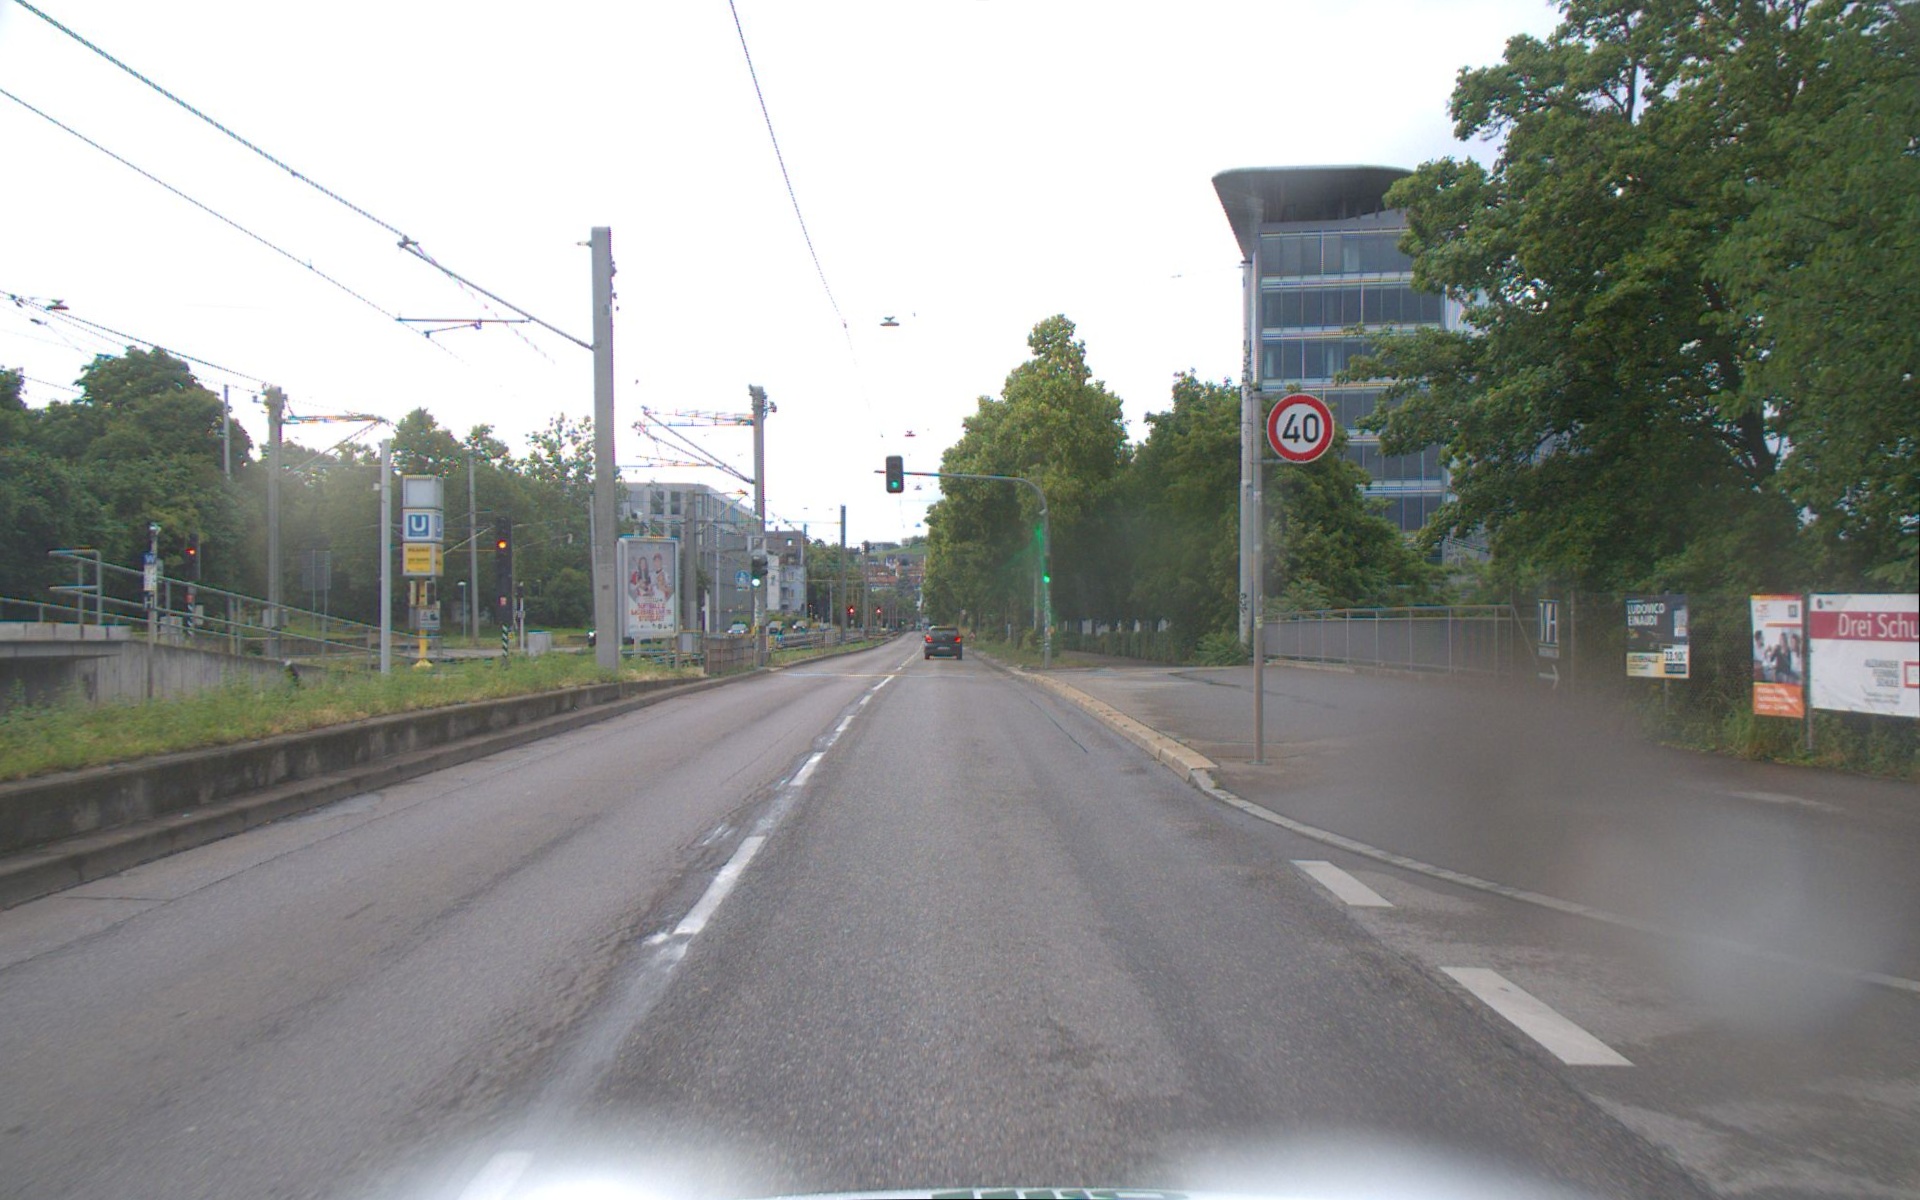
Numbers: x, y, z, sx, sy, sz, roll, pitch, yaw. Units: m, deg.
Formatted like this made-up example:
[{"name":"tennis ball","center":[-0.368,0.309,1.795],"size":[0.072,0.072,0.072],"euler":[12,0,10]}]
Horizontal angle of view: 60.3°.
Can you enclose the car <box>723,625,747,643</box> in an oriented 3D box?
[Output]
[{"name":"car","center":[-24.020,3.643,176.710],"size":[1.811,1.660,3.611],"euler":[2,1,4]}]

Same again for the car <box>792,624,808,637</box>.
[{"name":"car","center":[-22.632,4.280,234.592],"size":[1.618,1.660,3.611],"euler":[2,1,4]}]

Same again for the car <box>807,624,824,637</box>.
[{"name":"car","center":[-20.967,4.484,240.185],"size":[1.811,1.660,3.611],"euler":[2,1,4]}]

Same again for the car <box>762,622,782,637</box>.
[{"name":"car","center":[-23.609,3.744,207.461],"size":[1.811,1.660,3.611],"euler":[2,1,4]}]

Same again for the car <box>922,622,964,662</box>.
[{"name":"car","center":[-0.754,1.764,71.130],"size":[1.692,1.567,3.999],"euler":[2,0,-1]}]
